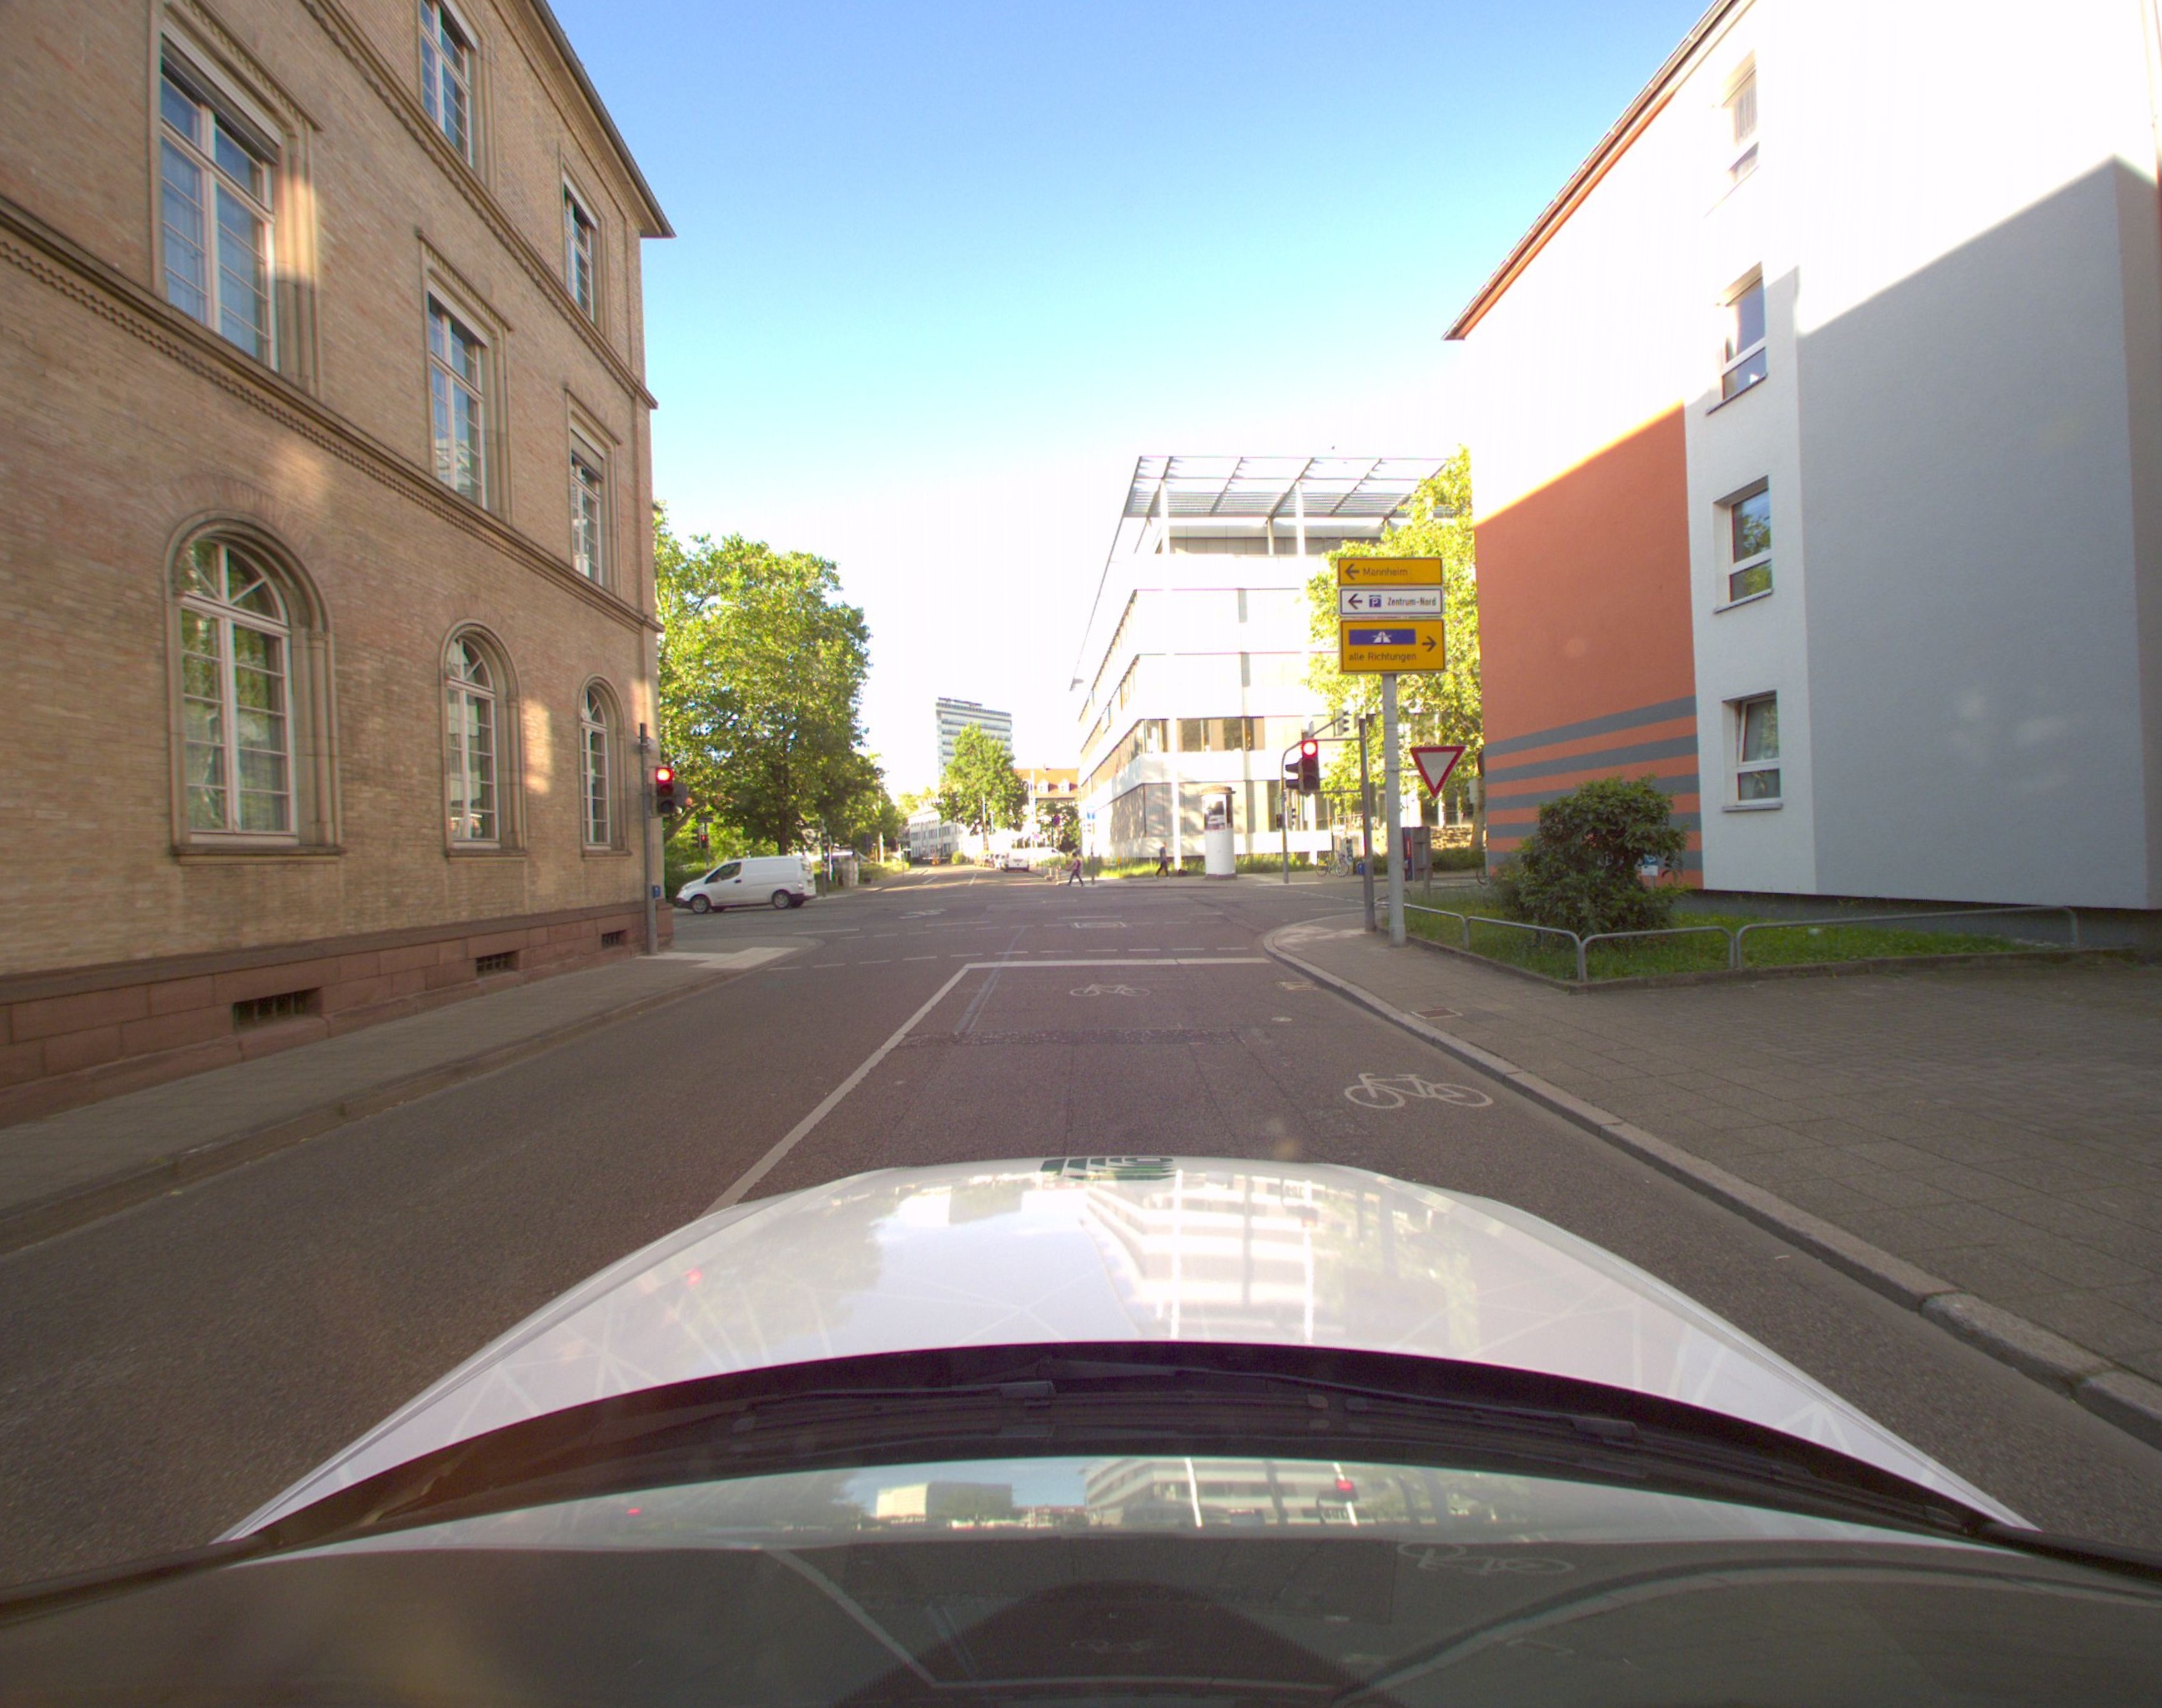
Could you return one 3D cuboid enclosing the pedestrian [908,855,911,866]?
[{"bbox_3d":[-24.325,0.963,115.440,0.380,1.534,0.444,-2,0,-10],"label":"pedestrian"}]

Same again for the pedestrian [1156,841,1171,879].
[{"bbox_3d":[3.956,0.281,39.044,0.649,1.736,0.814,-2,0,8],"label":"pedestrian"}]

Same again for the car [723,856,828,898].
[{"bbox_3d":[-14.406,1.053,38.636,4.219,1.777,1.901,-2,0,-7],"label":"car"}]

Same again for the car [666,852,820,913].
[{"bbox_3d":[-11.614,0.944,28.219,4.533,1.799,1.634,-3,0,-5],"label":"car"}]

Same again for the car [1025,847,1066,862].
[{"bbox_3d":[-4.516,0.060,103.168,4.889,1.872,1.990,-1,-1,-15],"label":"car"}]

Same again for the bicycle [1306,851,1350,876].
[{"bbox_3d":[10.897,0.434,35.994,0.467,1.049,1.893,-2,0,-40],"label":"bicycle"}]

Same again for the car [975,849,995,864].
[{"bbox_3d":[-11.323,0.236,96.122,2.100,1.658,4.461,-2,0,-9],"label":"car"}]

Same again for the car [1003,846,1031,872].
[{"bbox_3d":[-5.136,0.364,64.933,2.065,1.963,4.228,-2,0,-7],"label":"car"}]

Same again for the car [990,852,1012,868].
[{"bbox_3d":[-8.056,0.597,81.445,1.705,1.424,4.221,-2,0,-11],"label":"car"}]

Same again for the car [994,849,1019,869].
[{"bbox_3d":[-7.087,0.464,76.810,1.947,1.795,4.223,-2,0,-11],"label":"car"}]

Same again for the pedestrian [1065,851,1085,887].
[{"bbox_3d":[-0.279,0.681,36.967,0.707,1.599,0.619,-2,0,11],"label":"pedestrian"}]
